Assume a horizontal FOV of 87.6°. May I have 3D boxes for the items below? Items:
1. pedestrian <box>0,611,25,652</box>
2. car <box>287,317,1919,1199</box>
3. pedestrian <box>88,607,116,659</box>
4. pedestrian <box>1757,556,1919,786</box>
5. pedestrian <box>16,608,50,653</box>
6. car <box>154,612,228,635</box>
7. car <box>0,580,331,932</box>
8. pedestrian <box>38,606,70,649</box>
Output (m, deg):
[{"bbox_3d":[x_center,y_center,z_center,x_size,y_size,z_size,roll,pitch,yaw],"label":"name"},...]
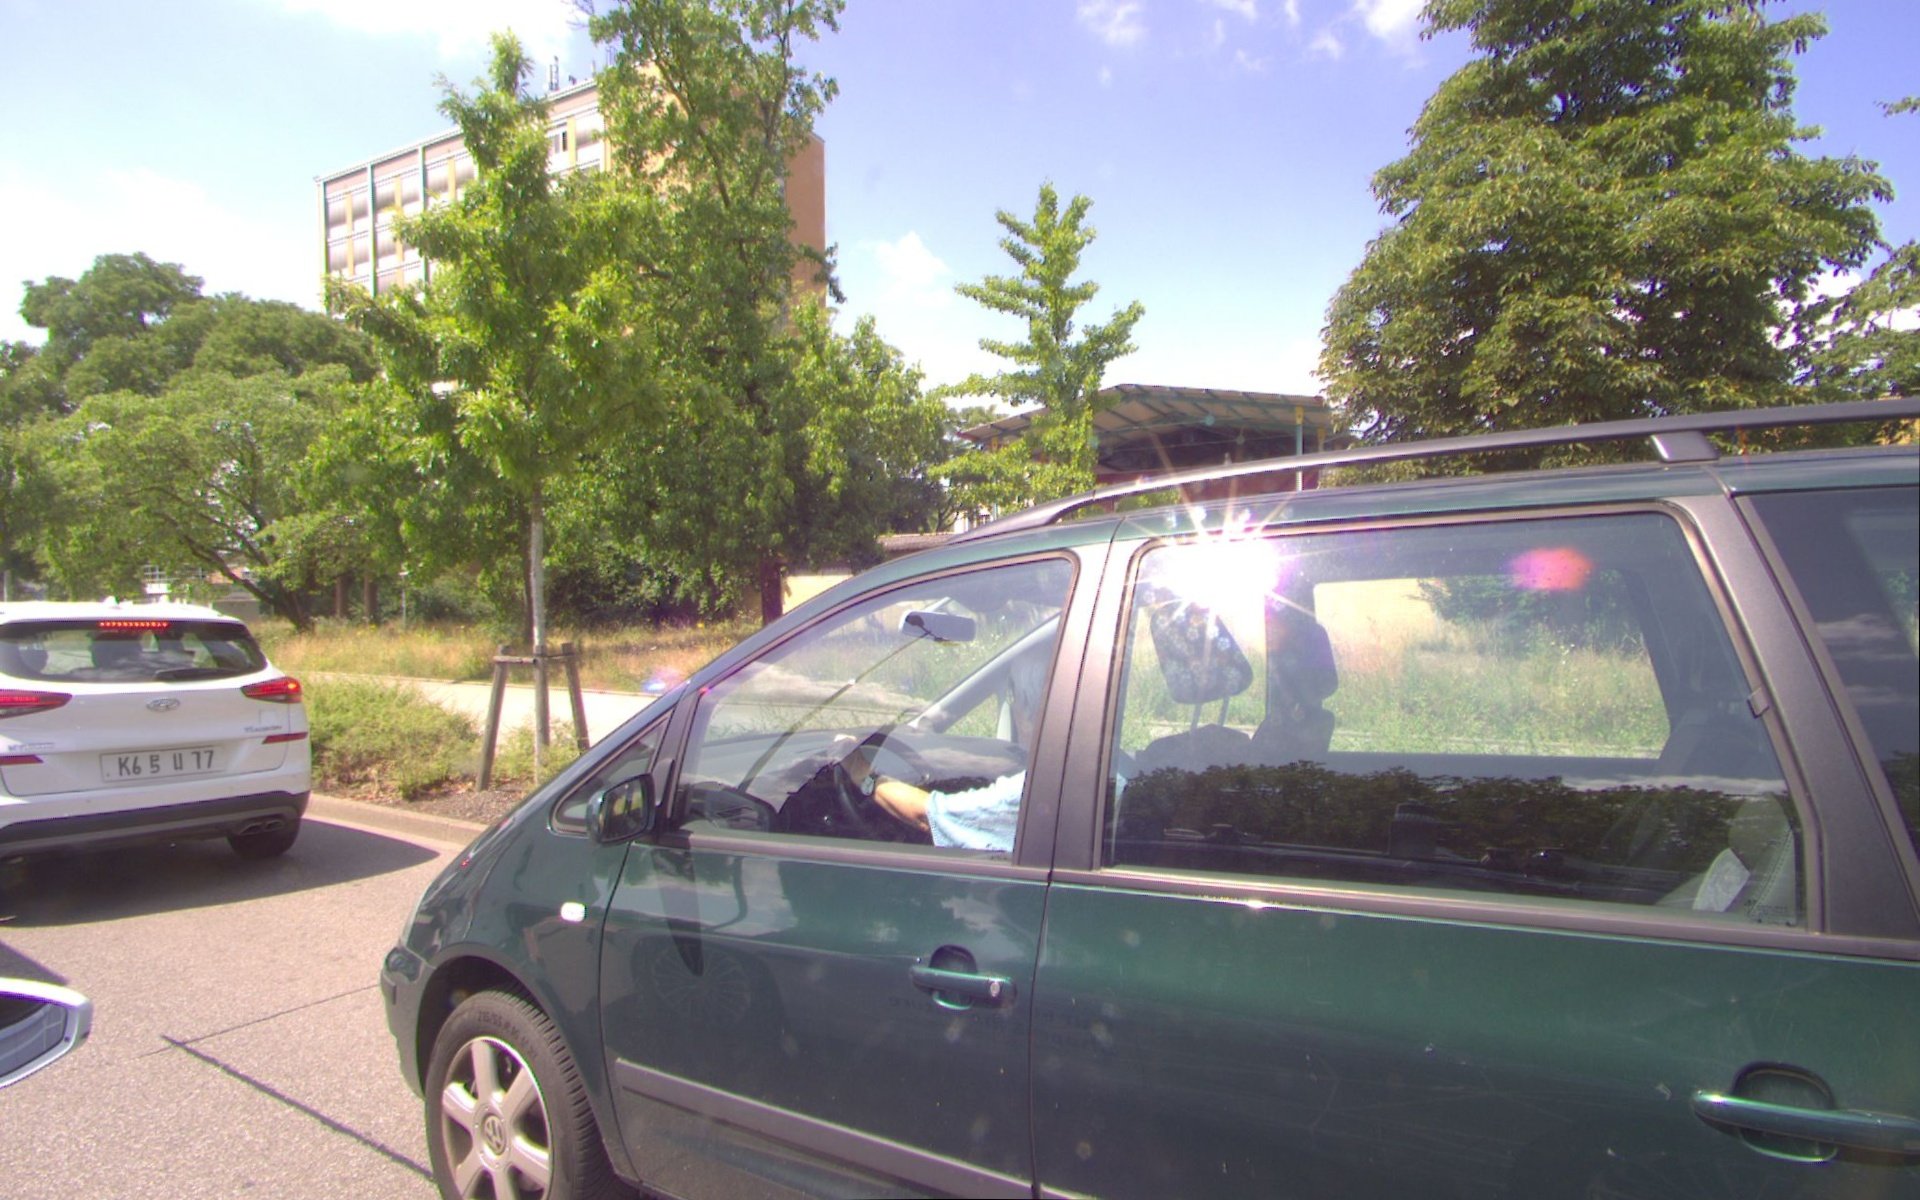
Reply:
[{"bbox_3d":[-38.844,1.282,40.918,0.805,1.677,0.756,0,1,36],"label":"pedestrian"},{"bbox_3d":[0.537,0.632,2.269,4.329,1.737,1.799,0,-2,32],"label":"car"},{"bbox_3d":[-31.216,1.175,36.430,0.753,1.874,0.809,-1,1,-41],"label":"pedestrian"},{"bbox_3d":[6.462,0.490,7.418,0.805,1.578,0.757,0,1,34],"label":"pedestrian"},{"bbox_3d":[-39.392,1.271,42.552,0.802,1.874,0.759,0,1,22],"label":"pedestrian"},{"bbox_3d":[-94.903,2.983,123.676,2.453,2.751,7.072,-1,-2,20],"label":"car"},{"bbox_3d":[-5.944,0.769,6.423,3.919,1.701,1.810,0,0,34],"label":"car"},{"bbox_3d":[-39.435,1.188,43.578,0.803,1.874,0.759,0,1,24],"label":"pedestrian"}]
